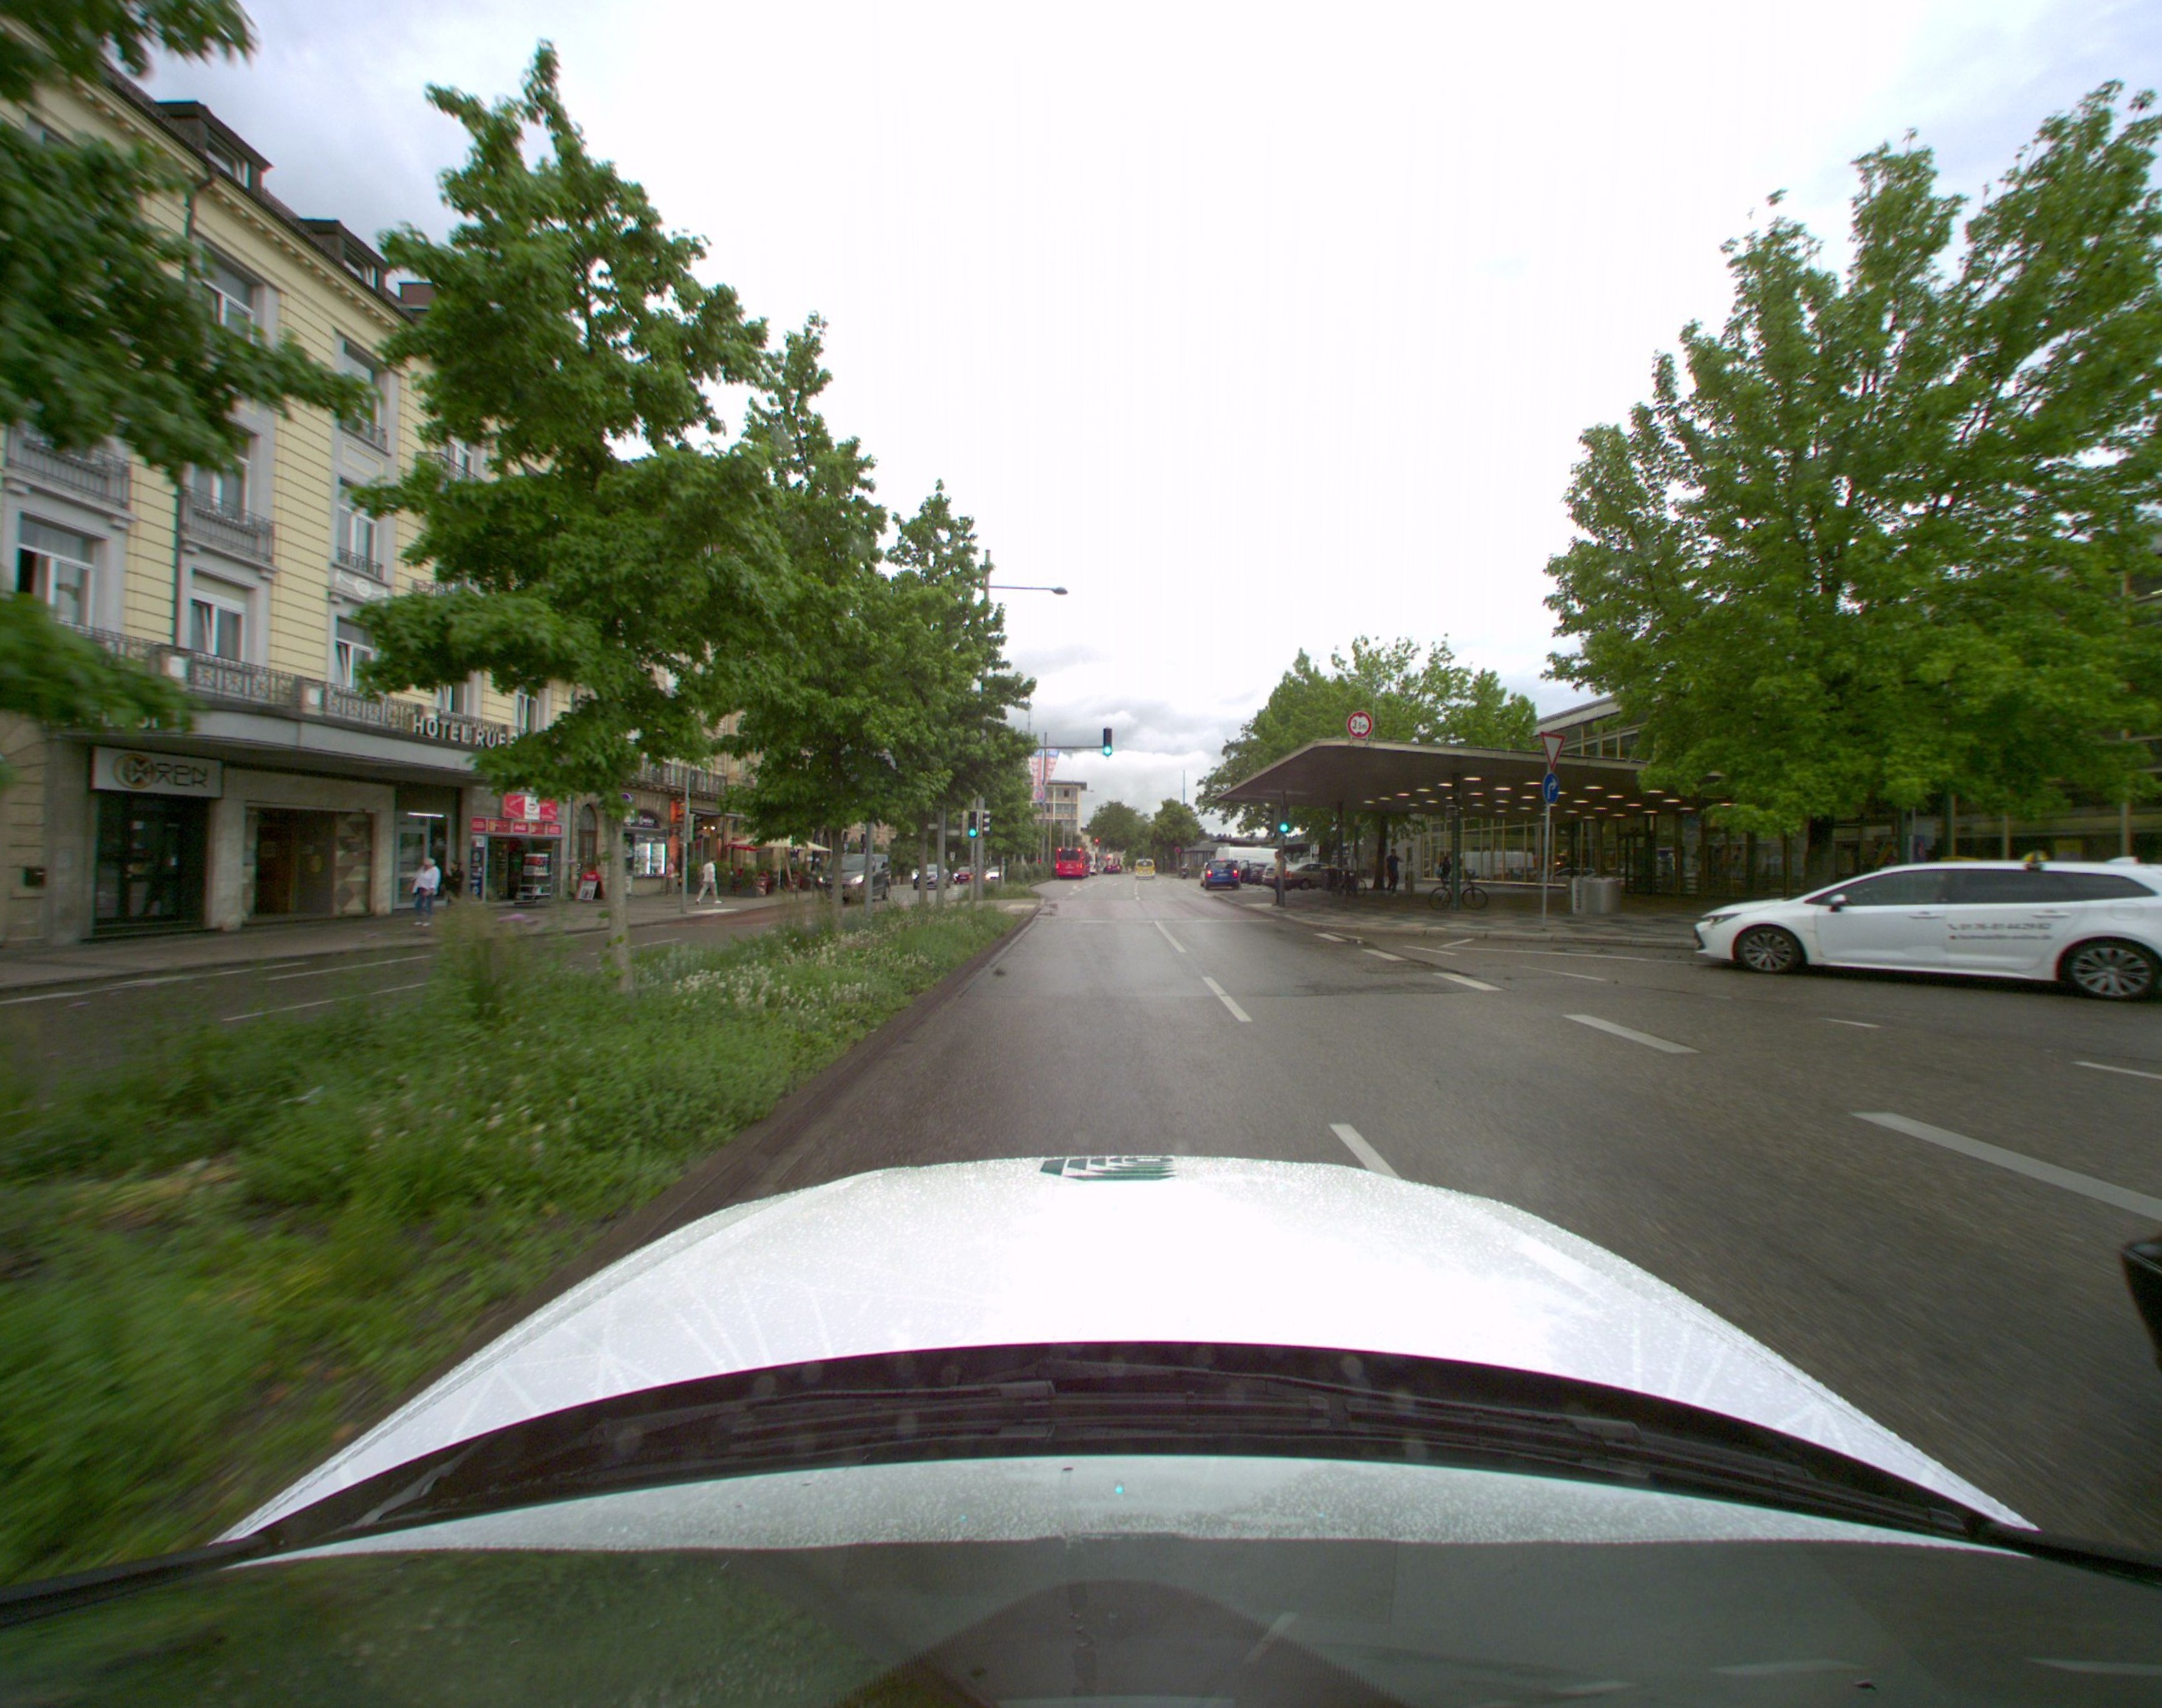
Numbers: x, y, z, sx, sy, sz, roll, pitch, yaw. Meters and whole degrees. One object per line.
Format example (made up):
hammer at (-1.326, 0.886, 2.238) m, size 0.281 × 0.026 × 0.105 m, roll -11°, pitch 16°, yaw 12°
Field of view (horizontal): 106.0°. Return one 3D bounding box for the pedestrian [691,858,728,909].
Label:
pedestrian at (-14.074, 1.115, 30.885) m, size 0.876 × 1.812 × 0.750 m, roll -7°, pitch -1°, yaw 1°

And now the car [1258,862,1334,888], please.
car at (12.474, 1.186, 47.219) m, size 4.006 × 1.443 × 1.849 m, roll 0°, pitch -1°, yaw -25°

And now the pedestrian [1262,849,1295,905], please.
pedestrian at (6.288, 0.735, 25.963) m, size 0.745 × 1.747 × 0.834 m, roll -1°, pitch -2°, yaw -7°

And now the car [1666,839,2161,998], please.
car at (10.196, 0.671, 9.861) m, size 1.772 × 1.546 × 4.722 m, roll 0°, pitch -1°, yaw -38°

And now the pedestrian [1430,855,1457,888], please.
pedestrian at (17.517, 0.852, 39.344) m, size 0.864 × 1.559 × 0.812 m, roll -2°, pitch -1°, yaw -5°

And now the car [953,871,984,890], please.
car at (-9.107, 2.103, 66.222) m, size 1.740 × 1.430 × 3.955 m, roll -2°, pitch -1°, yaw 2°

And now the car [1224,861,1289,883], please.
car at (11.885, 1.223, 55.277) m, size 4.006 × 1.443 × 1.849 m, roll 0°, pitch -1°, yaw -25°

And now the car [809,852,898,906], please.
car at (-9.369, 1.013, 33.995) m, size 1.985 × 2.014 × 5.005 m, roll -2°, pitch -1°, yaw 3°

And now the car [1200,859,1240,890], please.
car at (7.466, 1.101, 44.068) m, size 1.849 × 1.569 × 4.006 m, roll -1°, pitch -1°, yaw 6°

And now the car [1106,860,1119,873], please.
car at (5.108, 2.045, 131.877) m, size 1.986 × 2.014 × 4.002 m, roll -2°, pitch -1°, yaw 2°

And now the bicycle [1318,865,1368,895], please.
bicycle at (9.825, 0.975, 30.556) m, size 1.831 × 1.056 × 0.418 m, roll -2°, pitch -1°, yaw -17°

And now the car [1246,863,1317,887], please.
car at (12.391, 1.299, 50.337) m, size 4.006 × 1.443 × 1.849 m, roll 0°, pitch -1°, yaw -25°

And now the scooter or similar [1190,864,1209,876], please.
scooter or similar at (11.803, 1.623, 80.942) m, size 2.161 × 1.110 × 0.423 m, roll -1°, pitch -1°, yaw -38°

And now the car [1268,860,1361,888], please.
car at (11.714, 1.016, 40.863) m, size 4.197 × 1.325 × 1.829 m, roll 0°, pitch -1°, yaw -19°

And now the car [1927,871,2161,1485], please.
car at (3.559, 0.745, 0.295) m, size 1.691 × 1.466 × 4.445 m, roll -2°, pitch -1°, yaw -4°

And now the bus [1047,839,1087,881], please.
bus at (-1.363, 0.688, 84.907) m, size 3.532 × 3.979 × 11.174 m, roll -2°, pitch -1°, yaw 1°

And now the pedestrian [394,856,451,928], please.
pedestrian at (-15.913, 0.904, 19.687) m, size 0.678 × 1.664 × 0.808 m, roll -2°, pitch -1°, yaw 5°

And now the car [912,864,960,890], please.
car at (-9.128, 1.412, 51.564) m, size 1.986 × 1.543 × 4.635 m, roll -2°, pitch -1°, yaw 2°

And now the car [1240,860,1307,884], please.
car at (12.545, 1.169, 53.064) m, size 4.006 × 1.443 × 1.849 m, roll 0°, pitch -1°, yaw -25°

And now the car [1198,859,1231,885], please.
car at (8.173, 1.077, 50.015) m, size 1.778 × 1.523 × 3.688 m, roll -1°, pitch -1°, yaw 6°

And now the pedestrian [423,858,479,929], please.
pedestrian at (-15.203, 0.935, 19.663) m, size 0.679 × 1.664 × 0.807 m, roll -2°, pitch -1°, yaw 2°

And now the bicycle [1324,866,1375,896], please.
bicycle at (9.922, 0.984, 30.106) m, size 1.831 × 1.056 × 0.418 m, roll -2°, pitch -1°, yaw -17°

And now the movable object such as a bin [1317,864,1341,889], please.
movable object such as a bin at (11.257, 1.000, 36.997) m, size 0.751 × 1.095 × 0.746 m, roll -2°, pitch -1°, yaw -11°

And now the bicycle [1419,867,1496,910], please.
bicycle at (10.045, 0.918, 21.736) m, size 1.821 × 1.056 × 0.420 m, roll -2°, pitch -1°, yaw 1°

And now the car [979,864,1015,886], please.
car at (-6.216, 1.541, 60.933) m, size 1.986 × 1.543 × 4.635 m, roll -2°, pitch -1°, yaw 2°

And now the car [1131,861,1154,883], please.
car at (5.981, 1.774, 79.492) m, size 1.986 × 2.014 × 5.063 m, roll -2°, pitch -1°, yaw 2°

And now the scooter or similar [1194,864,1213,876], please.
scooter or similar at (12.133, 1.603, 80.568) m, size 2.161 × 1.110 × 0.438 m, roll -1°, pitch -1°, yaw -38°

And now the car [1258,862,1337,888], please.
car at (11.856, 1.124, 44.526) m, size 4.011 × 1.359 × 1.847 m, roll 0°, pitch -2°, yaw -29°

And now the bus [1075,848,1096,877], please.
bus at (0.638, 1.180, 112.665) m, size 2.796 × 3.747 × 10.443 m, roll 0°, pitch -1°, yaw 0°

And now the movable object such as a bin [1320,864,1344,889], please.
movable object such as a bin at (11.080, 1.004, 35.999) m, size 0.750 × 1.067 × 0.747 m, roll -2°, pitch -1°, yaw -7°

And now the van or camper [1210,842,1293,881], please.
van or camper at (12.846, 0.558, 61.324) m, size 5.977 × 2.763 × 2.180 m, roll -1°, pitch -1°, yaw -26°

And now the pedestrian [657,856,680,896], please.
pedestrian at (-17.221, 0.913, 33.973) m, size 0.666 × 1.664 × 0.535 m, roll -2°, pitch -1°, yaw -7°

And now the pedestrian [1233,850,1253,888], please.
pedestrian at (8.818, 0.801, 44.460) m, size 0.829 × 2.014 × 0.888 m, roll -2°, pitch -1°, yaw -3°

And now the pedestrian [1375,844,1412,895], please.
pedestrian at (11.537, 0.570, 30.104) m, size 0.853 × 1.835 × 1.190 m, roll -1°, pitch -2°, yaw 1°

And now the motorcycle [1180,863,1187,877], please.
motorcycle at (9.832, 1.533, 78.267) m, size 0.592 × 1.288 × 1.957 m, roll -1°, pitch -1°, yaw 7°

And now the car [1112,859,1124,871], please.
car at (6.679, 1.946, 147.277) m, size 1.986 × 2.014 × 4.002 m, roll -2°, pitch -1°, yaw 2°
